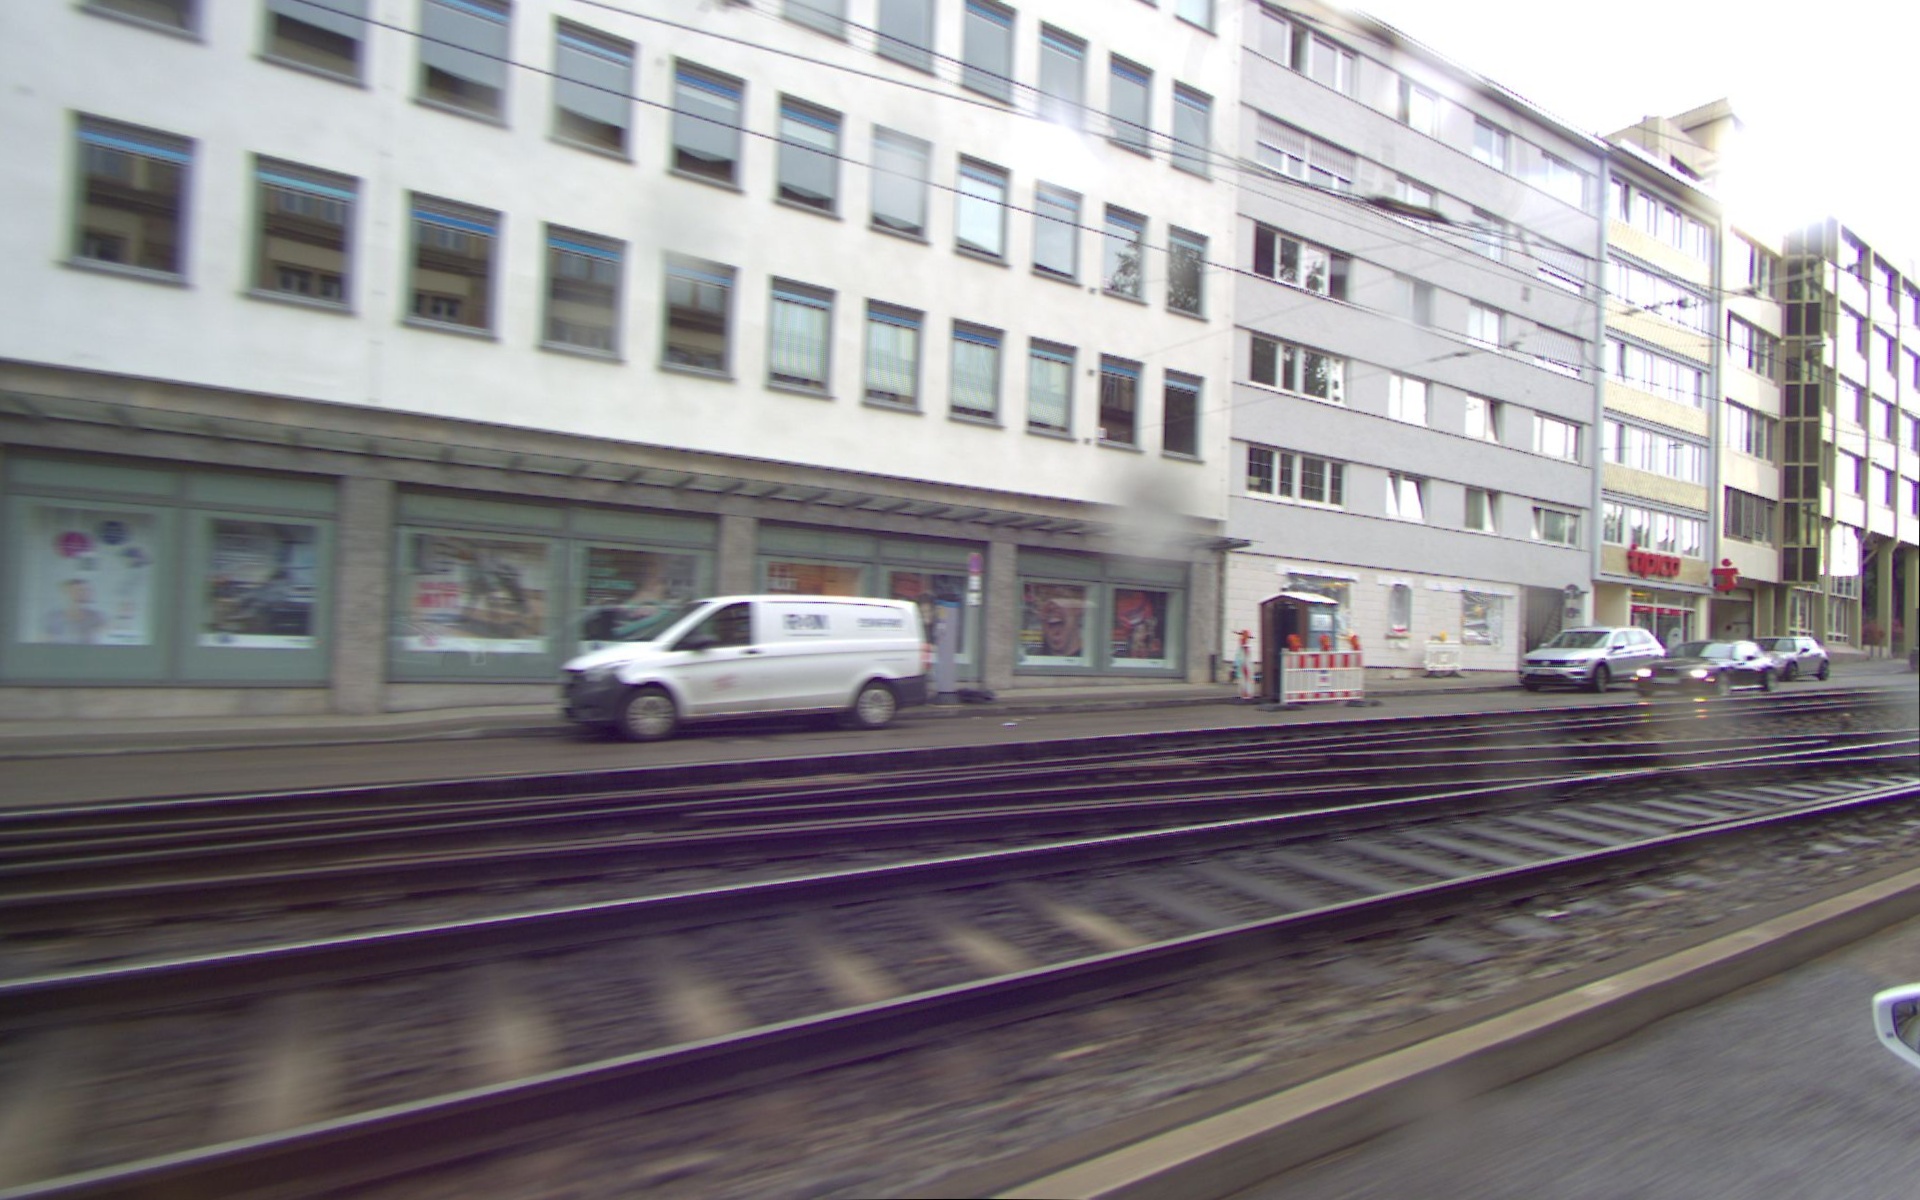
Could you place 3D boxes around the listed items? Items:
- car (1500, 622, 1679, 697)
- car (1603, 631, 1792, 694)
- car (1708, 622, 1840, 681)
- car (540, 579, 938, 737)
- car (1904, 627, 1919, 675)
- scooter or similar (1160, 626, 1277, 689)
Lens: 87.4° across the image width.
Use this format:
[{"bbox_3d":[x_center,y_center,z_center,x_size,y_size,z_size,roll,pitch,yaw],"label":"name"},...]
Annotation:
[{"bbox_3d":[16.261,1.466,25.894,4.641,1.696,1.983,1,1,-31],"label":"car"},{"bbox_3d":[16.738,1.420,22.745,4.646,1.271,1.982,3,-3,-33],"label":"car"},{"bbox_3d":[26.381,1.691,32.506,4.646,1.696,1.982,3,0,-33],"label":"car"},{"bbox_3d":[-2.989,0.809,14.116,5.078,1.866,1.982,3,-2,-33],"label":"car"},{"bbox_3d":[40.333,2.159,40.679,4.646,1.874,1.982,3,0,-33],"label":"car"},{"bbox_3d":[6.143,1.368,23.763,3.055,1.392,0.692,3,0,-32],"label":"scooter or similar"}]
